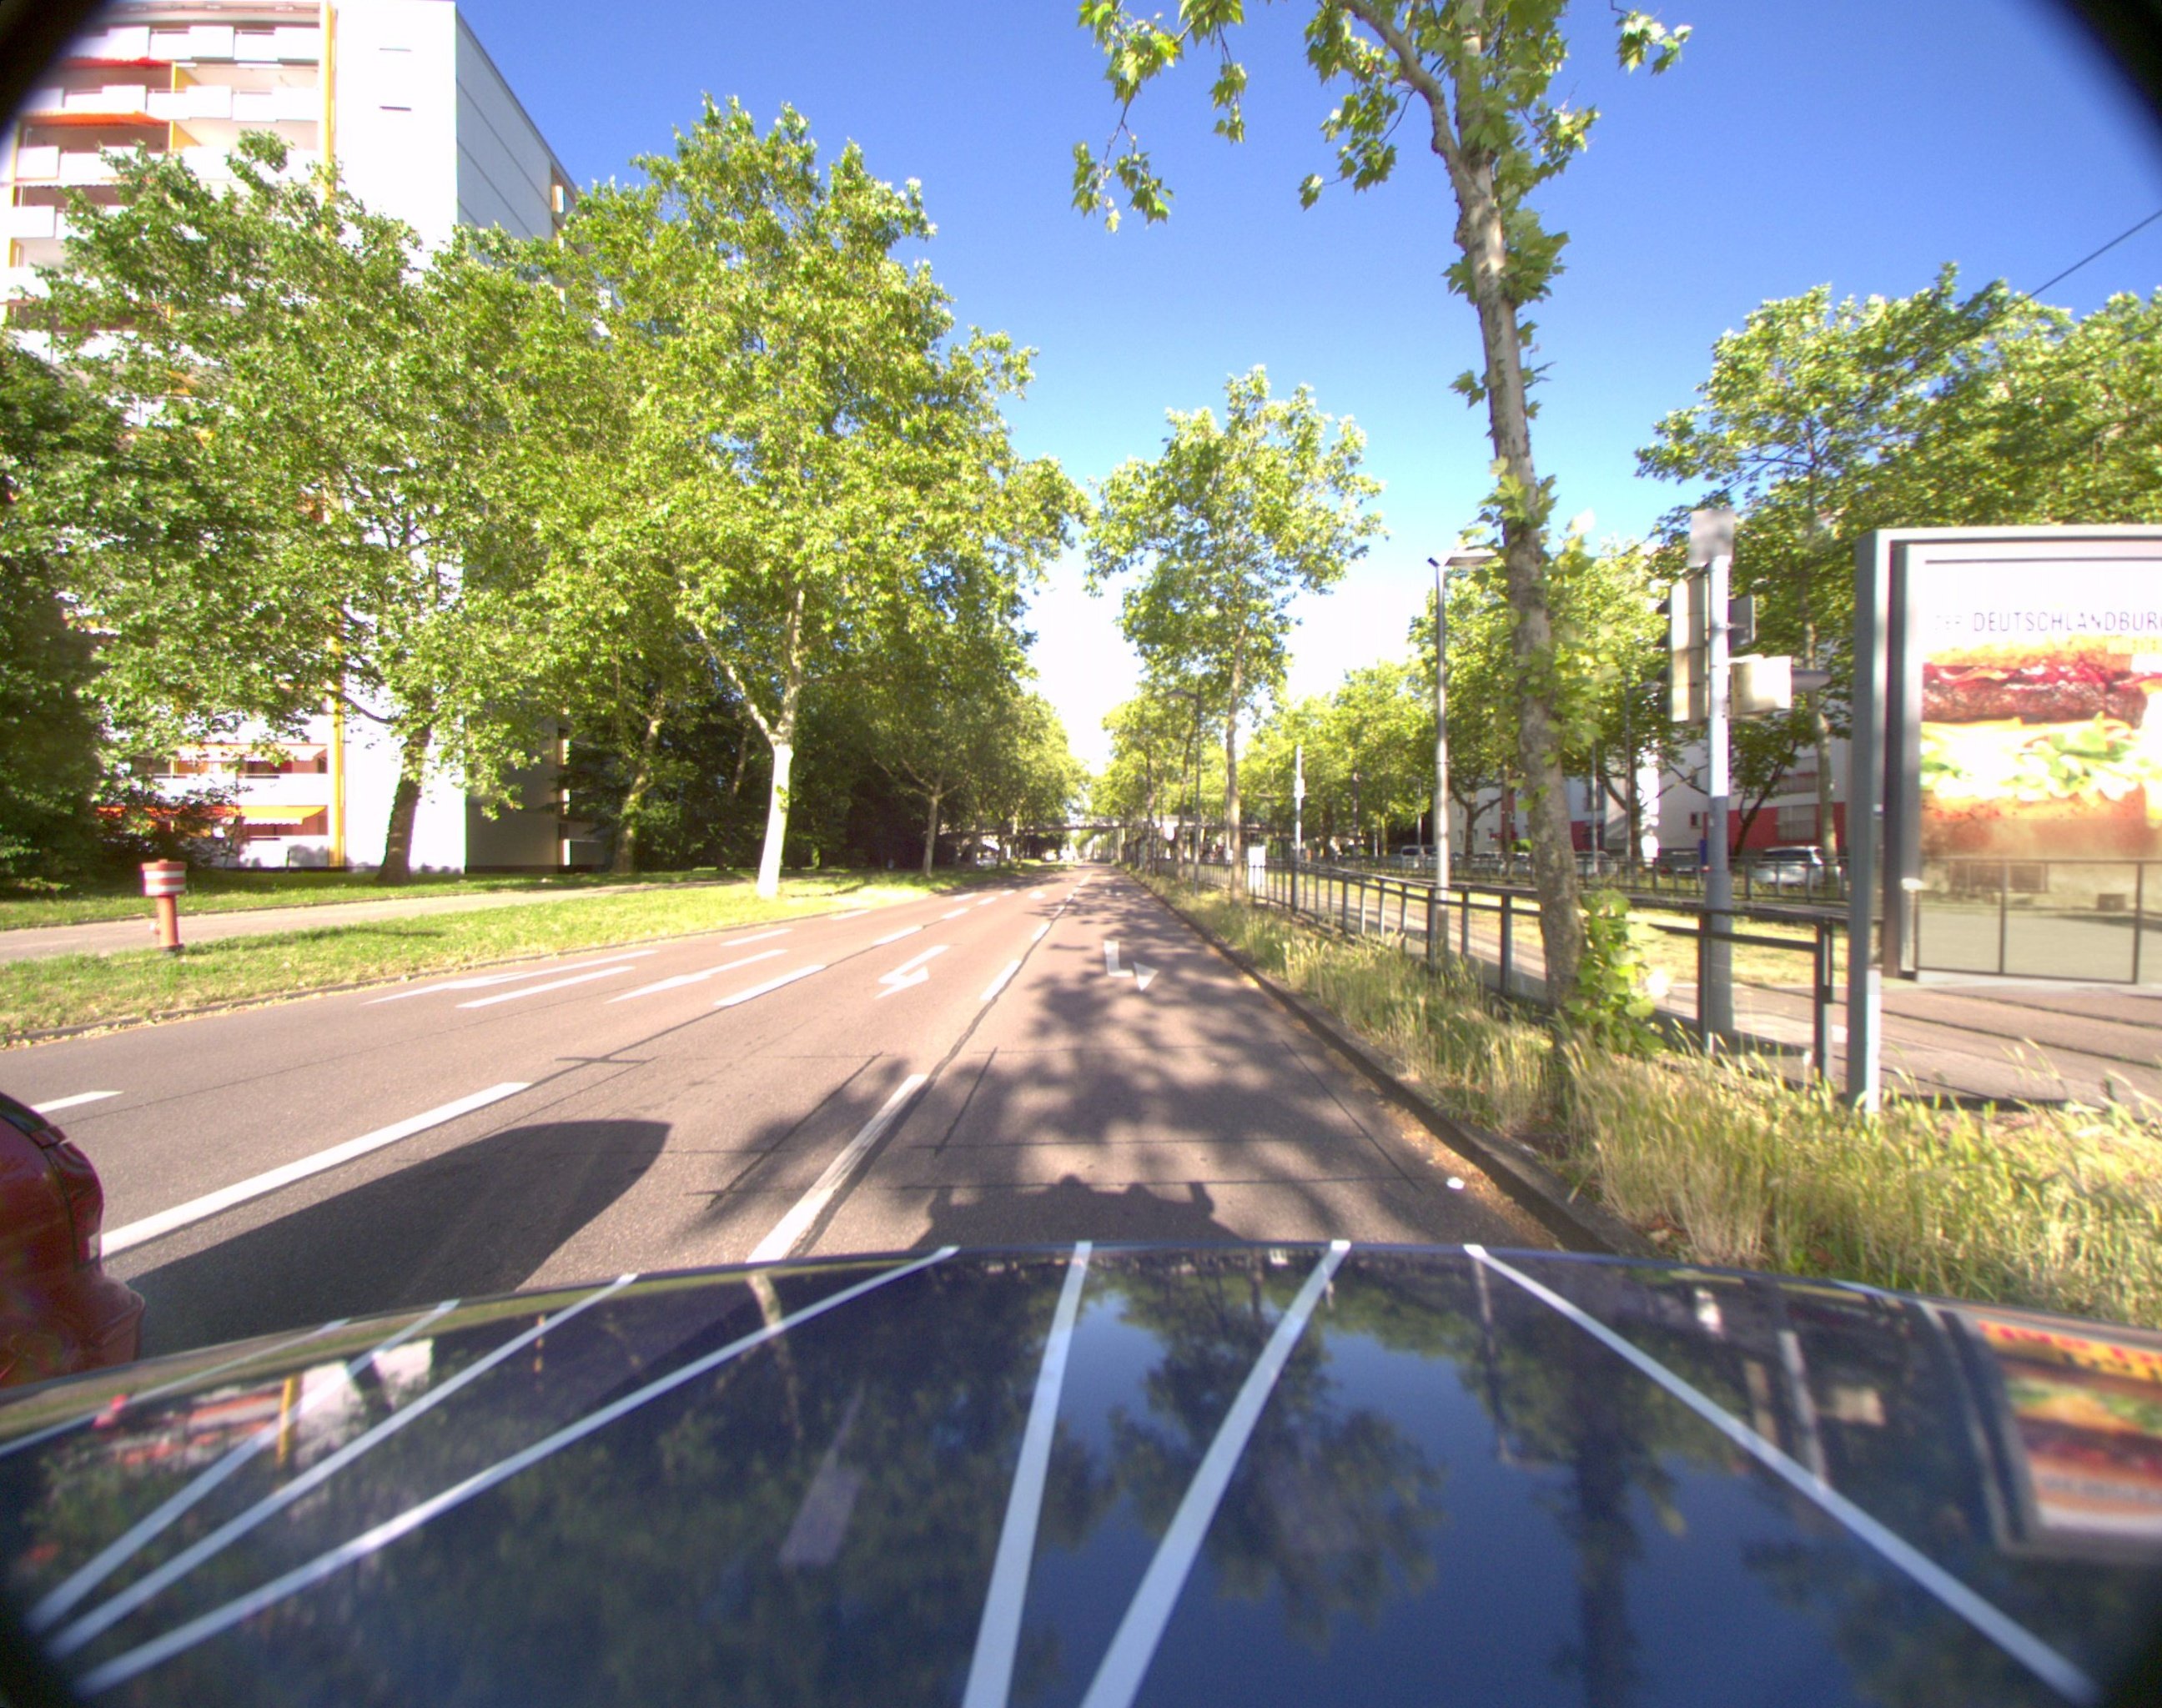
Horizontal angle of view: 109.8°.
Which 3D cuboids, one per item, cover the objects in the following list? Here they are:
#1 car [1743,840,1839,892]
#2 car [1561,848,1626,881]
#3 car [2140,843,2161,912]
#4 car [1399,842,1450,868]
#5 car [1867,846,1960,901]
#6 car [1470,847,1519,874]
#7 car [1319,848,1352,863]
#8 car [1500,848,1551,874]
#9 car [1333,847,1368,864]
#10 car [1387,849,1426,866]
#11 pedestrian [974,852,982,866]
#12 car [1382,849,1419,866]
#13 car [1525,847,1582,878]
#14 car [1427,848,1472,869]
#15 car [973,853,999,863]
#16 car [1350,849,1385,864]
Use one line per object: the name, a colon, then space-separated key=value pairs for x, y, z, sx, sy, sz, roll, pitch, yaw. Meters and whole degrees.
car: x=25.217 y=0.403 z=26.938 sx=4.007 sy=1.586 sz=1.810 roll=-3 pitch=1 yaw=-37
car: x=25.511 y=0.517 z=37.777 sx=3.890 sy=1.406 sz=1.486 roll=-3 pitch=1 yaw=-37
car: x=24.558 y=0.534 z=16.239 sx=4.007 sy=1.479 sz=1.689 roll=-3 pitch=1 yaw=-44
car: x=25.756 y=0.057 z=56.921 sx=4.056 sy=1.802 sz=1.864 roll=-1 pitch=1 yaw=-40
car: x=25.232 y=0.540 z=23.010 sx=3.770 sy=1.420 sz=1.555 roll=-3 pitch=1 yaw=-37
car: x=25.902 y=0.386 z=47.505 sx=3.493 sy=1.417 sz=1.558 roll=-3 pitch=-1 yaw=-42
car: x=26.636 y=0.122 z=79.473 sx=3.742 sy=1.517 sz=1.597 roll=-1 pitch=1 yaw=-43
car: x=26.191 y=0.416 z=44.736 sx=3.493 sy=1.321 sz=1.476 roll=-3 pitch=0 yaw=-41
car: x=26.116 y=0.131 z=73.515 sx=3.835 sy=1.561 sz=1.597 roll=-1 pitch=1 yaw=-43
car: x=25.883 y=0.272 z=60.328 sx=3.494 sy=1.336 sz=1.476 roll=-1 pitch=1 yaw=-41
pedestrian: x=-15.249 y=0.695 z=112.159 sx=0.919 sy=2.002 sz=0.962 roll=-3 pitch=1 yaw=0
car: x=26.916 y=0.290 z=64.014 sx=3.494 sy=1.293 sz=1.476 roll=-1 pitch=1 yaw=-41
car: x=25.746 y=0.434 z=41.372 sx=3.402 sy=1.499 sz=1.461 roll=-3 pitch=1 yaw=-37
car: x=26.181 y=0.311 z=53.893 sx=3.494 sy=1.395 sz=1.623 roll=-1 pitch=1 yaw=-41
car: x=-15.155 y=0.624 z=121.389 sx=3.999 sy=1.465 sz=1.797 roll=-3 pitch=1 yaw=-8
car: x=26.342 y=0.246 z=69.784 sx=3.494 sy=1.312 sz=1.476 roll=-1 pitch=1 yaw=-41
